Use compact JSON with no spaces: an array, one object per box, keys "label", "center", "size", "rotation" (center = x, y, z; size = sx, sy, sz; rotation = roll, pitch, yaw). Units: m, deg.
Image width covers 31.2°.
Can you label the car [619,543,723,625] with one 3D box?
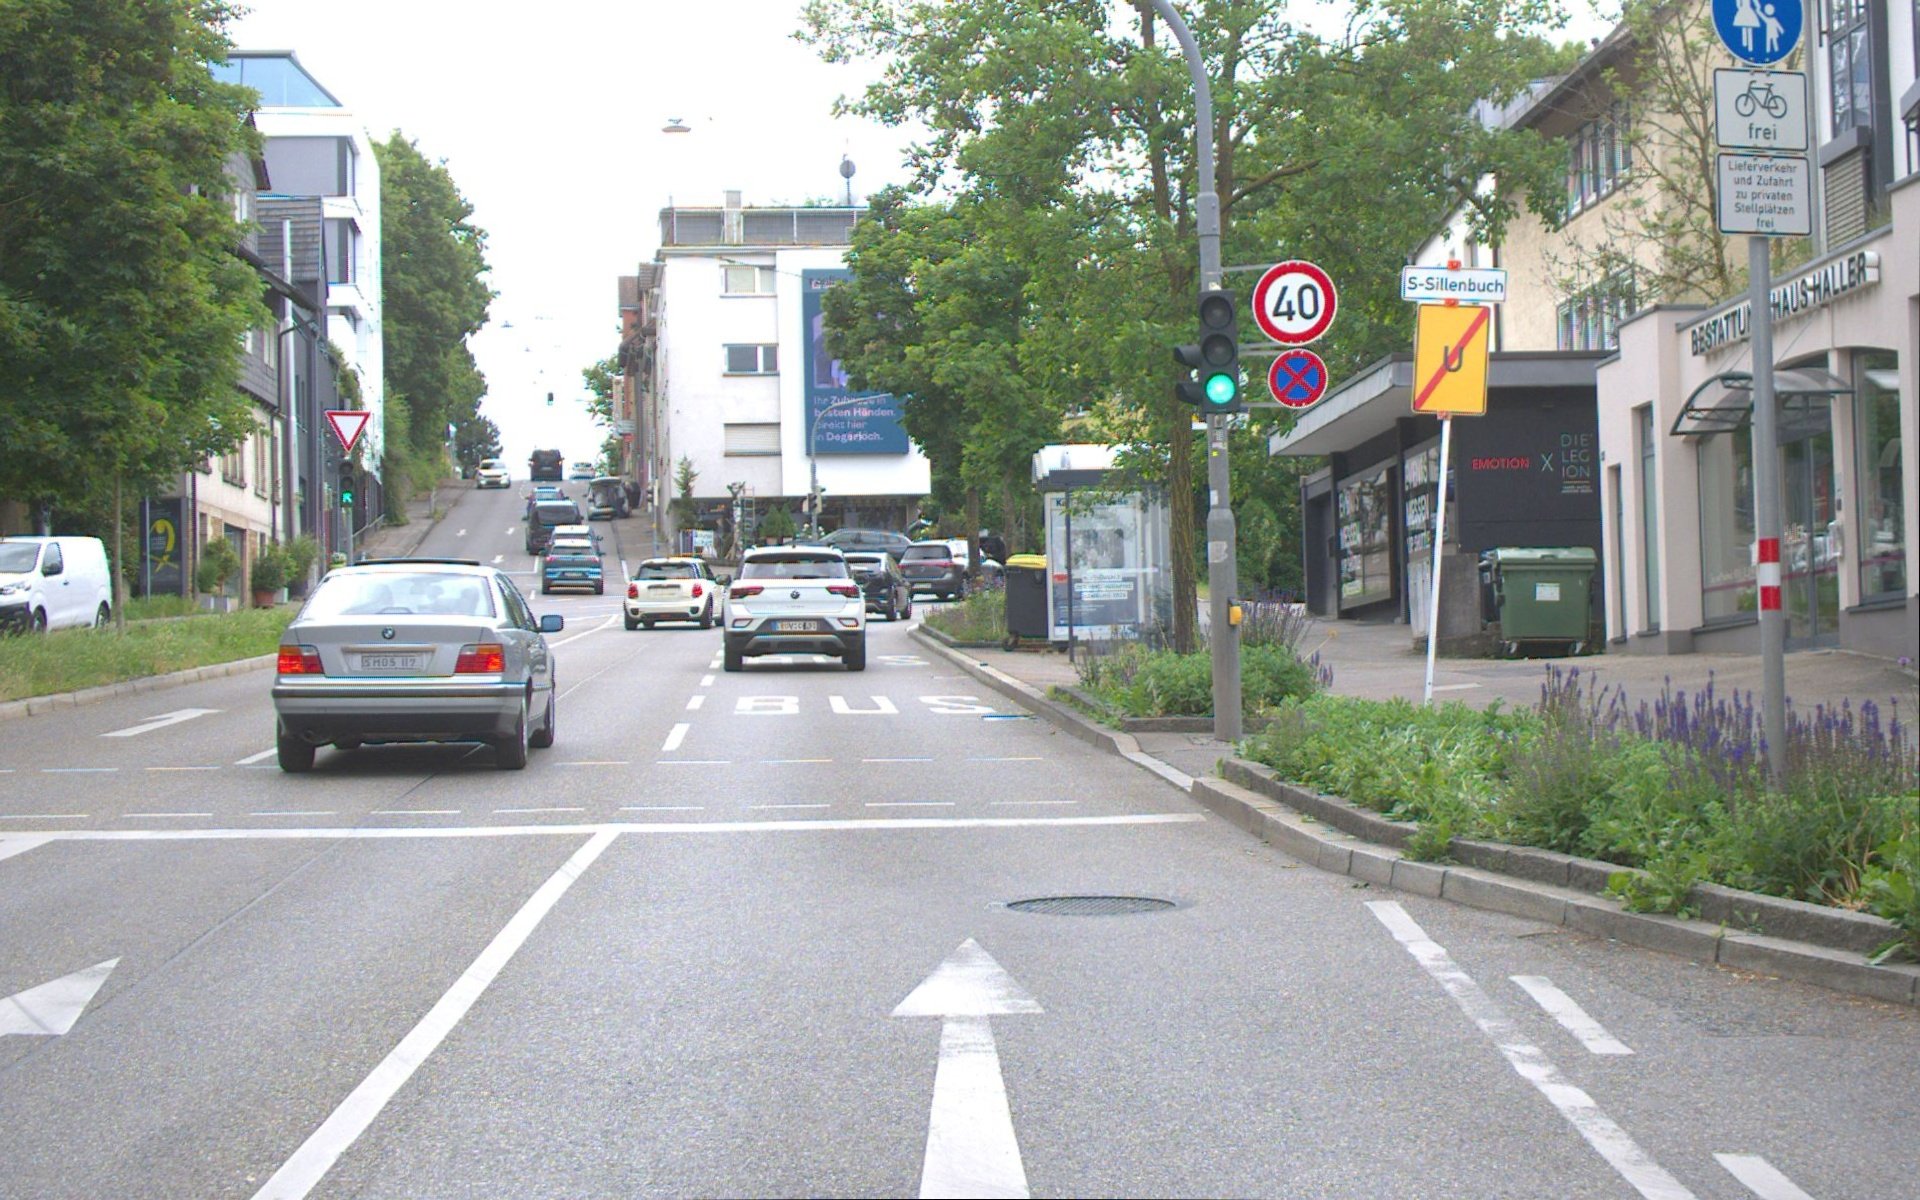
[{"label":"car","center":[-5.801,-0.350,69.373],"size":[1.780,1.573,4.000],"rotation":[0,1,0]}]

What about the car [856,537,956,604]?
[{"label":"car","center":[-1.148,-0.658,74.849],"size":[1.794,1.405,4.000],"rotation":[0,1,4]}]

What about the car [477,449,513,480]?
[{"label":"car","center":[-25.674,-7.510,189.896],"size":[1.882,1.562,4.391],"rotation":[-1,4,-7]}]

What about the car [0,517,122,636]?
[{"label":"car","center":[-16.082,-0.437,58.847],"size":[1.939,1.951,5.021],"rotation":[0,1,4]}]

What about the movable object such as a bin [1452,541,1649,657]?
[{"label":"movable object such as a bin","center":[7.776,-0.053,45.587],"size":[1.888,1.447,4.000],"rotation":[0,1,-1]}]

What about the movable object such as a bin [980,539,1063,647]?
[{"label":"movable object such as a bin","center":[0.853,-0.111,48.265],"size":[1.085,1.476,1.537],"rotation":[0,1,-2]}]

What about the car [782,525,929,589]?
[{"label":"car","center":[-3.541,-1.455,115.640],"size":[4.687,1.706,2.319],"rotation":[3,4,-6]}]

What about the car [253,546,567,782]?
[{"label":"car","center":[-3.712,0.374,23.774],"size":[1.706,1.459,4.001],"rotation":[0,1,-3]}]

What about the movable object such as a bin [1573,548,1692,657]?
[{"label":"movable object such as a bin","center":[8.850,0.021,45.295],"size":[1.340,1.404,1.128],"rotation":[0,1,-1]}]

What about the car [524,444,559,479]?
[{"label":"car","center":[-24.534,-8.108,201.721],"size":[1.993,2.007,4.001],"rotation":[0,1,-6]}]

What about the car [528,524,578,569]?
[{"label":"car","center":[-14.613,-1.948,123.573],"size":[1.779,1.573,4.001],"rotation":[0,1,-6]}]

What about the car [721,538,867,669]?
[{"label":"car","center":[-2.151,0.012,44.014],"size":[1.779,1.573,4.001],"rotation":[0,1,-3]}]

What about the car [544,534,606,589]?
[{"label":"car","center":[-11.371,-1.163,101.669],"size":[1.779,1.573,4.001],"rotation":[0,1,-6]}]

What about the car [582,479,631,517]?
[{"label":"car","center":[-15.403,-4.444,149.932],"size":[2.089,1.607,4.001],"rotation":[-1,1,-5]}]
